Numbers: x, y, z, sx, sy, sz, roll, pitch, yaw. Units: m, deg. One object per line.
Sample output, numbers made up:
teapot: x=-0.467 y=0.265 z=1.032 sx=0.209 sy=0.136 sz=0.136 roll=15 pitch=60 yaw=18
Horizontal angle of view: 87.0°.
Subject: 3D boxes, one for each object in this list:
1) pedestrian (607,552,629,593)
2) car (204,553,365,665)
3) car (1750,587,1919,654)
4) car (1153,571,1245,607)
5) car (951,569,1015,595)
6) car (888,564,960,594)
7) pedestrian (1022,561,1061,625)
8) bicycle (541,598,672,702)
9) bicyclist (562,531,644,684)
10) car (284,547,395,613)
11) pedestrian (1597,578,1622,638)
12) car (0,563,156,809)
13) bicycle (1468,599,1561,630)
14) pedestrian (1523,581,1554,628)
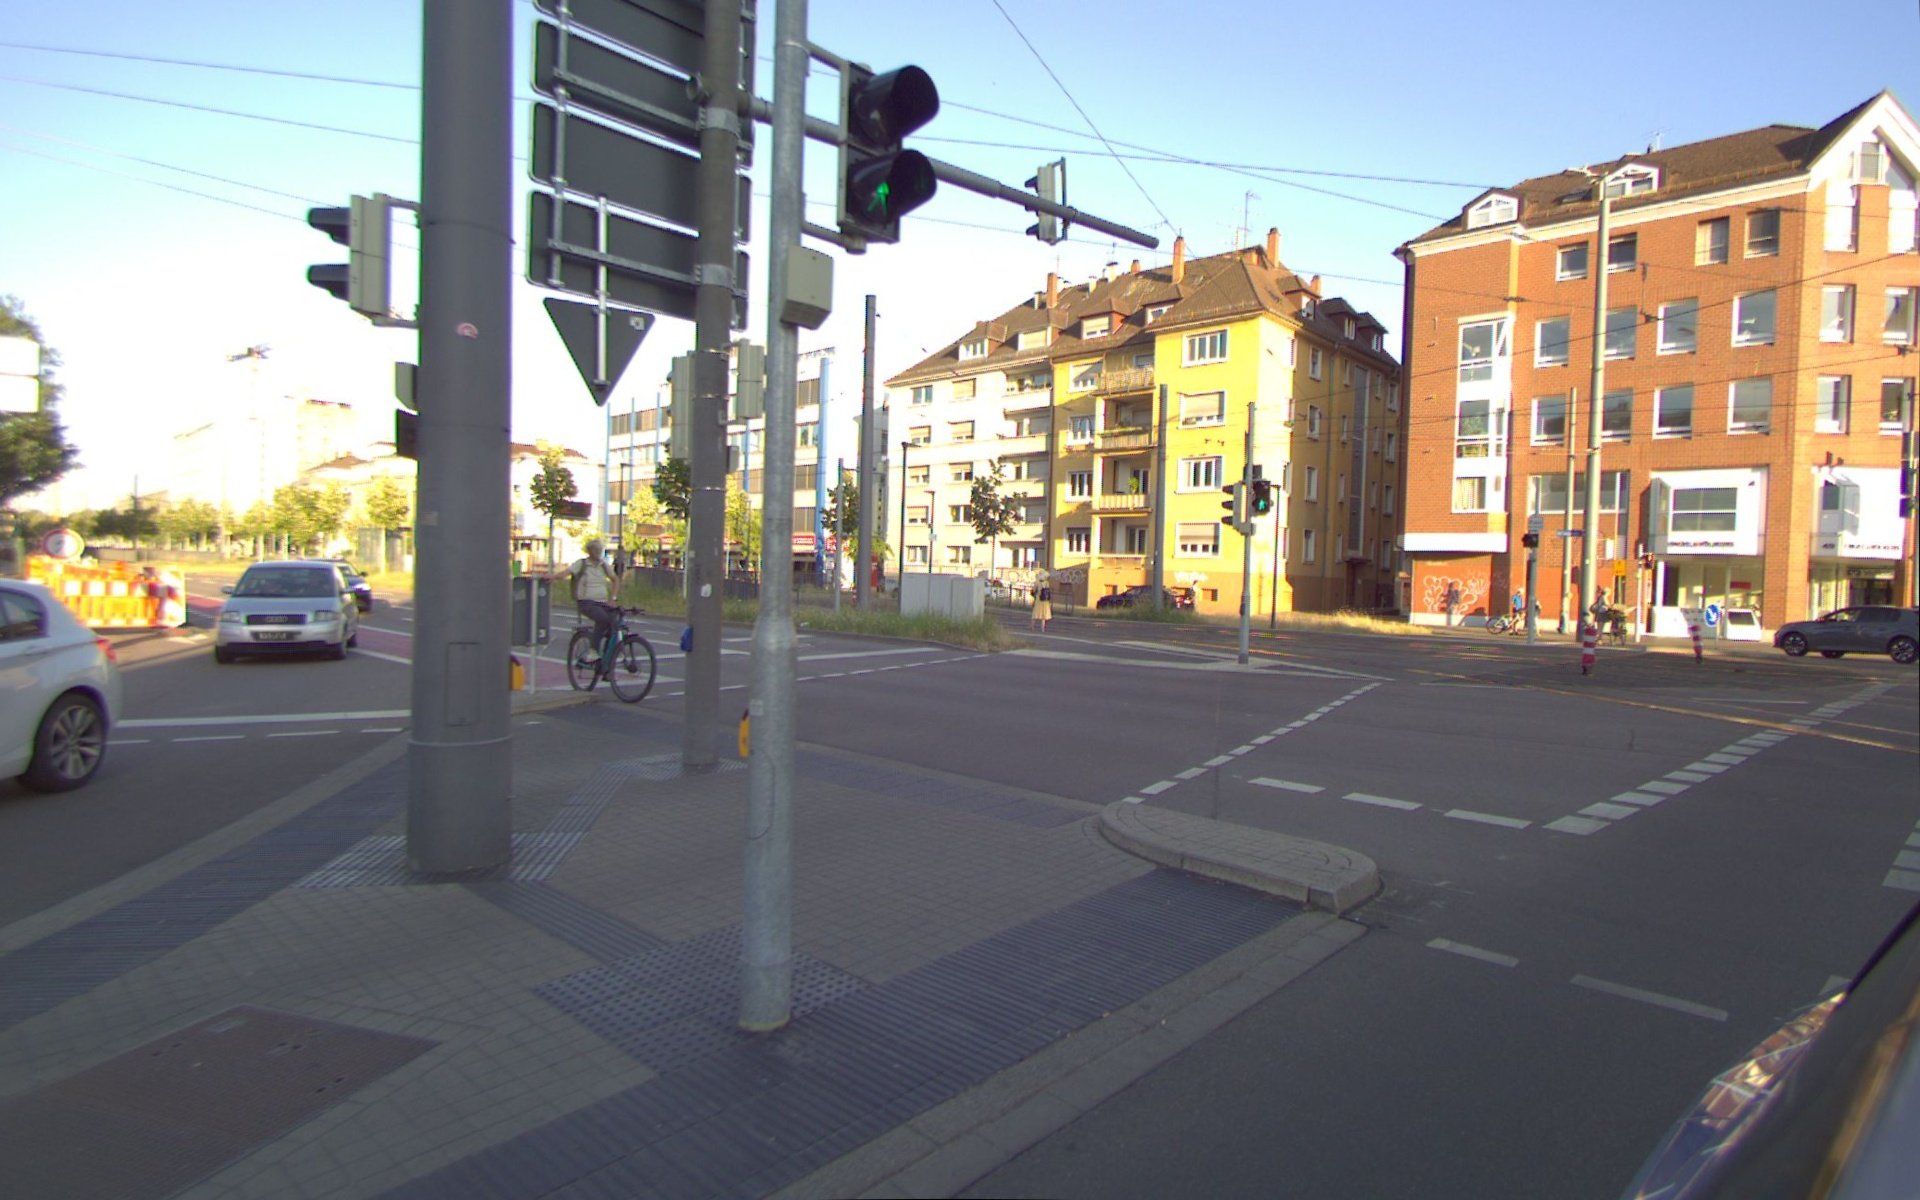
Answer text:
pedestrian: x=-13.723 y=-1.089 z=40.616 sx=0.556 sy=1.610 sz=0.689 roll=1 pitch=2 yaw=-42
car: x=-10.770 y=0.047 z=16.386 sx=1.647 sy=1.580 sz=3.733 roll=-2 pitch=3 yaw=-26
car: x=24.213 y=0.518 z=26.953 sx=1.877 sy=1.522 sz=4.714 roll=1 pitch=2 yaw=-17
car: x=11.224 y=-0.510 z=47.389 sx=4.210 sy=1.514 sz=1.847 roll=2 pitch=-1 yaw=-36
car: x=1.367 y=-1.066 z=60.464 sx=3.531 sy=1.437 sz=1.713 roll=3 pitch=2 yaw=43
car: x=-2.299 y=-1.330 z=64.088 sx=4.335 sy=1.726 sz=2.087 roll=3 pitch=2 yaw=43
pedestrian: x=2.028 y=-0.178 z=25.149 sx=0.693 sy=1.560 sz=0.638 roll=1 pitch=2 yaw=-29
bicycle: x=-4.092 y=0.532 z=11.649 sx=1.840 sy=1.035 sz=0.587 roll=3 pitch=2 yaw=41
bicyclist: x=-4.120 y=0.066 z=11.672 sx=0.745 sy=1.691 sz=0.587 roll=2 pitch=2 yaw=41
car: x=-16.943 y=-0.588 z=27.552 sx=1.910 sy=1.637 sz=4.387 roll=0 pitch=2 yaw=-41
pedestrian: x=19.044 y=0.224 z=29.681 sx=0.514 sy=1.729 sz=0.413 roll=2 pitch=2 yaw=43
car: x=-6.428 y=0.534 z=5.096 sx=1.877 sy=1.423 sz=4.313 roll=0 pitch=2 yaw=-10
bicycle: x=21.449 y=0.559 z=39.194 sx=3.048 sy=1.030 sz=0.919 roll=3 pitch=2 yaw=38
pedestrian: x=22.571 y=0.153 z=39.474 sx=0.869 sy=1.800 sz=0.905 roll=2 pitch=2 yaw=39
